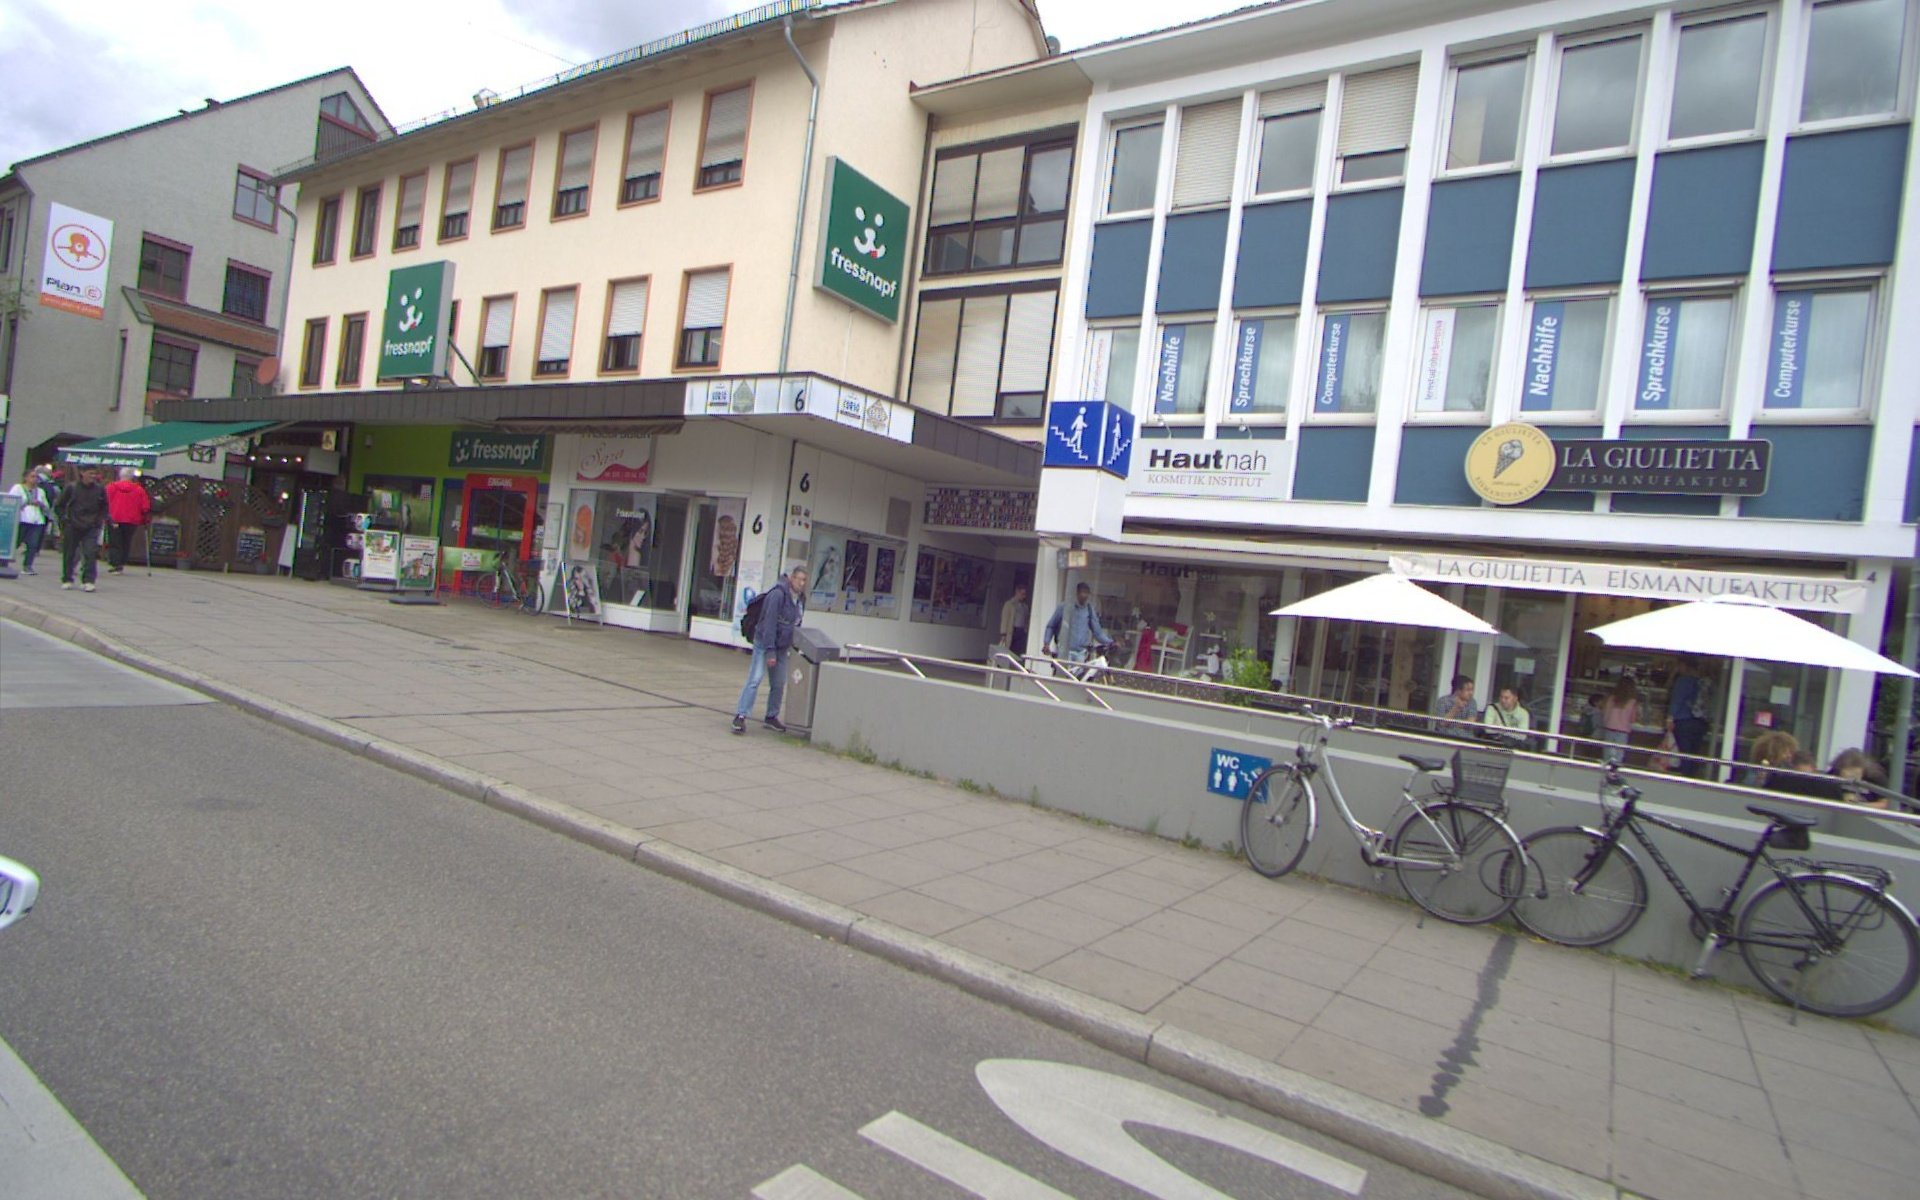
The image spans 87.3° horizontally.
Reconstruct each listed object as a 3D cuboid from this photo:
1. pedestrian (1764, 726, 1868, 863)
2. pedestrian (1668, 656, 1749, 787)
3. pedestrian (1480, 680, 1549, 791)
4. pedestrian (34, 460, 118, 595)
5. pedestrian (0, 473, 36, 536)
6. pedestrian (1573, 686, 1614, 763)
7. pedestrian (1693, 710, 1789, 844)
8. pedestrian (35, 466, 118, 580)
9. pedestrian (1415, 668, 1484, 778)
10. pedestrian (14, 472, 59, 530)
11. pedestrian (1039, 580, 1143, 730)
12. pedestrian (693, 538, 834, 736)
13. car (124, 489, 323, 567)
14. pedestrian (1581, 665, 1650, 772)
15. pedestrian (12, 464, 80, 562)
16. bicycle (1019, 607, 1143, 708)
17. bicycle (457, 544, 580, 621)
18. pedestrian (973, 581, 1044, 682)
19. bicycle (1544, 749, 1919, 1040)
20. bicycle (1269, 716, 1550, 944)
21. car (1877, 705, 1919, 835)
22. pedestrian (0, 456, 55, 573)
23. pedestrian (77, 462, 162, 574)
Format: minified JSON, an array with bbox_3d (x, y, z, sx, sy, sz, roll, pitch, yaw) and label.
[{"bbox_3d":[8.653,1.948,10.191,0.578,1.233,0.614,8,-2,31],"label":"pedestrian"},{"bbox_3d":[9.129,1.485,12.289,0.578,1.477,0.614,8,-2,33],"label":"pedestrian"},{"bbox_3d":[6.807,1.646,12.335,0.578,1.235,0.614,8,0,31],"label":"pedestrian"},{"bbox_3d":[-11.864,-0.963,13.500,0.605,1.699,0.612,8,2,36],"label":"pedestrian"},{"bbox_3d":[-26.491,-2.671,28.229,0.605,1.654,0.586,8,1,35],"label":"pedestrian"},{"bbox_3d":[8.344,1.645,13.251,0.347,0.954,0.301,8,-2,33],"label":"pedestrian"},{"bbox_3d":[8.162,1.826,10.540,0.578,1.236,0.613,8,2,31],"label":"pedestrian"},{"bbox_3d":[-13.706,-1.183,15.607,0.605,1.655,0.719,7,1,31],"label":"pedestrian"},{"bbox_3d":[6.061,1.521,12.443,0.578,1.233,0.614,8,-2,31],"label":"pedestrian"},{"bbox_3d":[-28.919,-3.090,31.507,0.604,1.654,0.727,8,1,25],"label":"pedestrian"},{"bbox_3d":[1.553,0.651,11.921,0.789,1.655,0.665,8,1,41],"label":"pedestrian"},{"bbox_3d":[-1.796,0.334,9.199,0.839,1.655,0.688,8,1,33],"label":"pedestrian"},{"bbox_3d":[-23.023,-2.212,31.617,1.852,1.639,4.605,7,-1,37],"label":"car"},{"bbox_3d":[8.281,1.498,12.732,0.578,1.233,0.614,8,-2,33],"label":"pedestrian"},{"bbox_3d":[-17.469,-1.659,19.232,0.768,1.765,0.683,6,2,28],"label":"pedestrian"},{"bbox_3d":[1.399,0.661,11.791,1.365,0.986,0.273,8,1,35],"label":"bicycle"},{"bbox_3d":[-7.811,-0.313,17.747,2.312,1.076,0.741,7,2,32],"label":"bicycle"},{"bbox_3d":[0.860,0.555,17.769,0.839,1.655,0.688,8,1,31],"label":"pedestrian"},{"bbox_3d":[3.823,1.419,5.094,1.365,1.066,0.273,8,1,35],"label":"bicycle"},{"bbox_3d":[2.582,1.287,5.870,1.365,0.986,0.273,8,1,35],"label":"bicycle"},{"bbox_3d":[13.941,2.399,13.585,1.709,1.686,3.967,8,-1,37],"label":"car"},{"bbox_3d":[-14.038,-1.270,14.955,0.605,1.655,0.613,7,1,31],"label":"pedestrian"},{"bbox_3d":[-14.084,-1.360,16.861,0.768,1.765,0.796,6,2,28],"label":"pedestrian"}]
